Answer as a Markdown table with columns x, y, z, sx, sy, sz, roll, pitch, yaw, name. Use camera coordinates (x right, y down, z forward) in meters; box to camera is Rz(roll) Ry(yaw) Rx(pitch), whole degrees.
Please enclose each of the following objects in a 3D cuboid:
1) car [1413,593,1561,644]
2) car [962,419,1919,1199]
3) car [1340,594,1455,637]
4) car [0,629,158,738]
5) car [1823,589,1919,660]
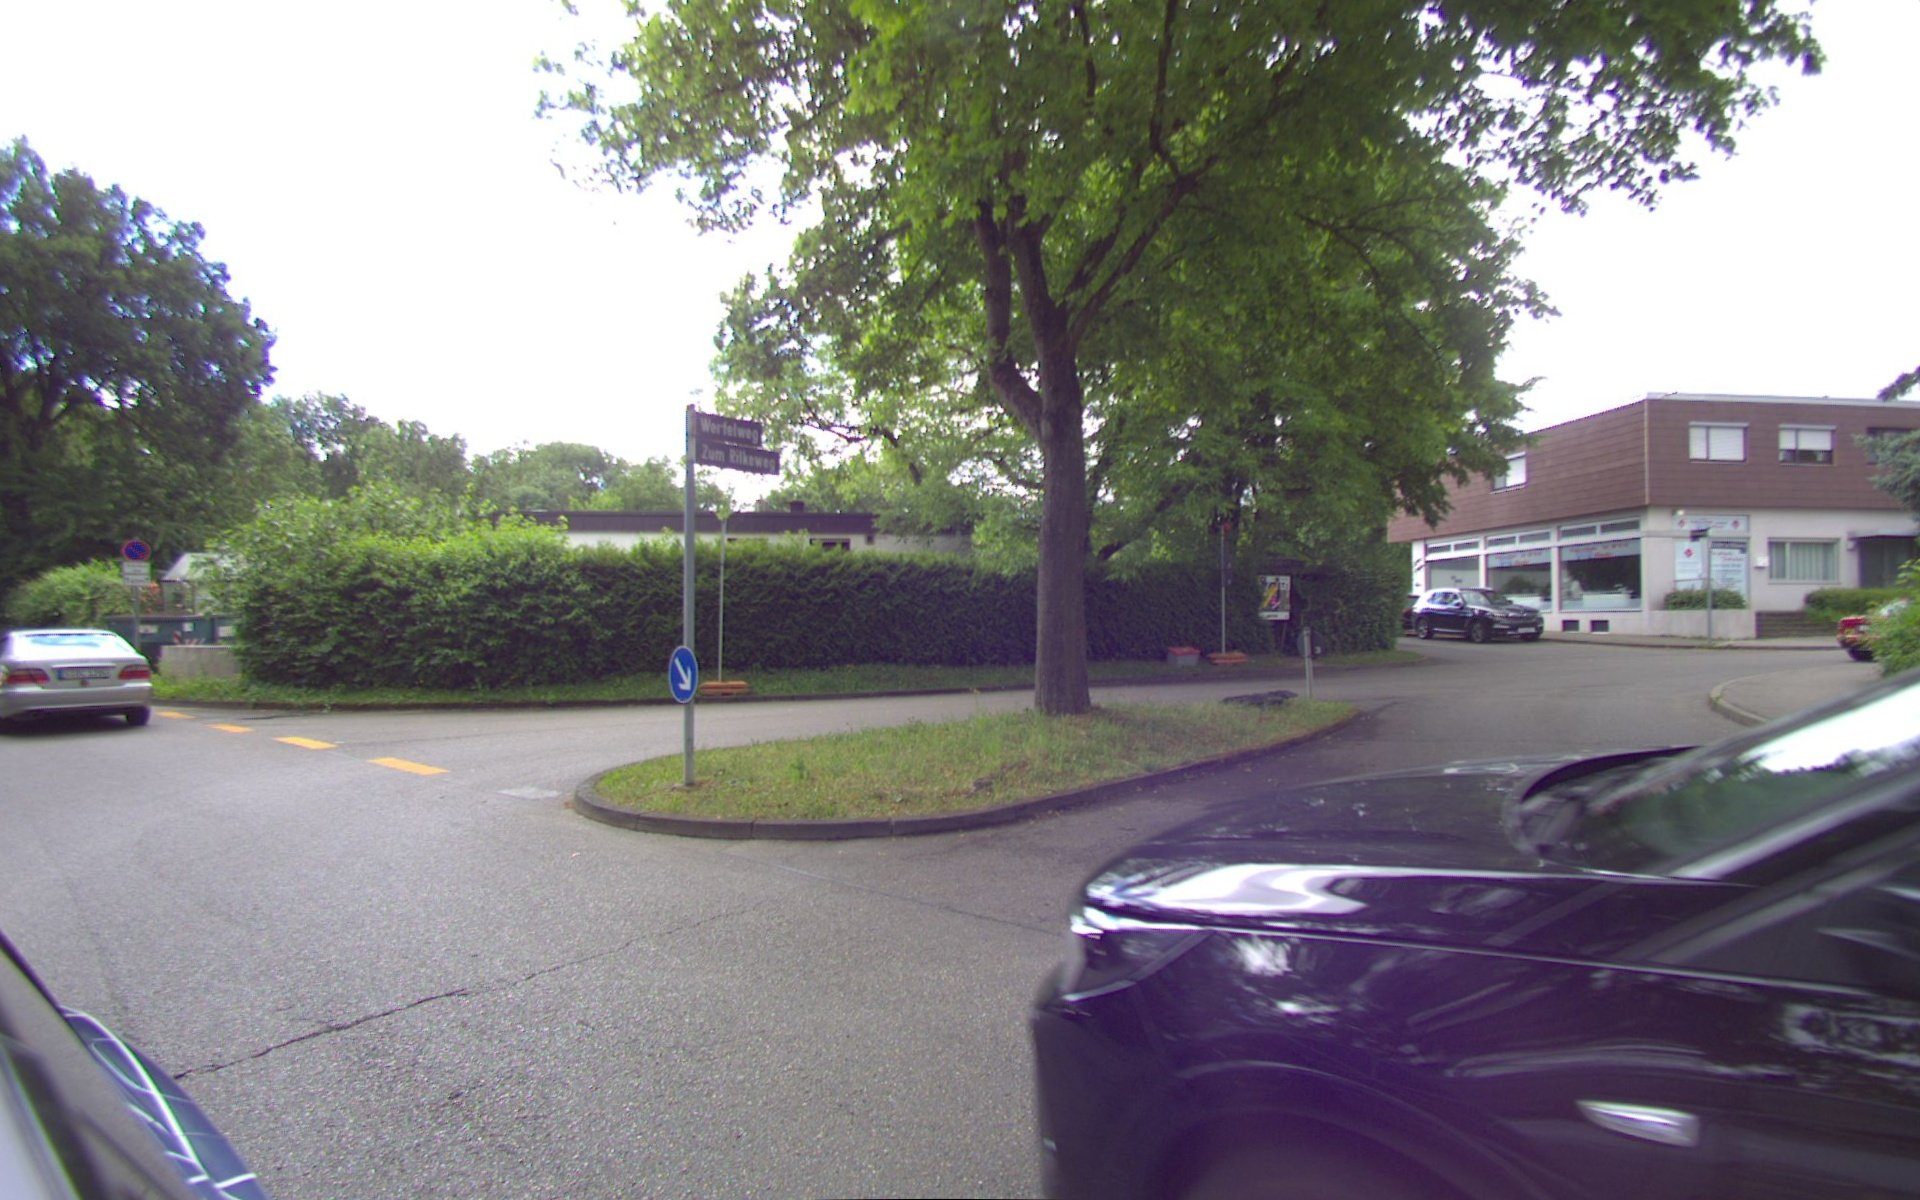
| x | y | z | sx | sy | sz | roll | pitch | yaw | name |
| --- | --- | --- | --- | --- | --- | --- | --- | --- | --- |
| 16.242 | 0.588 | 31.482 | 1.969 | 1.386 | 4.285 | -3 | -1 | -6 | car |
| 2.165 | 0.609 | 0.999 | 4.297 | 1.603 | 1.783 | -2 | -1 | 44 | car |
| 15.706 | 0.574 | 36.578 | 1.943 | 1.386 | 4.007 | -2 | -1 | -8 | car |
| -12.994 | 1.096 | 14.496 | 4.296 | 1.316 | 1.761 | -2 | -1 | 43 | car |
| 19.989 | 0.462 | 20.411 | 3.999 | 1.346 | 1.760 | -1 | -1 | -10 | car |
